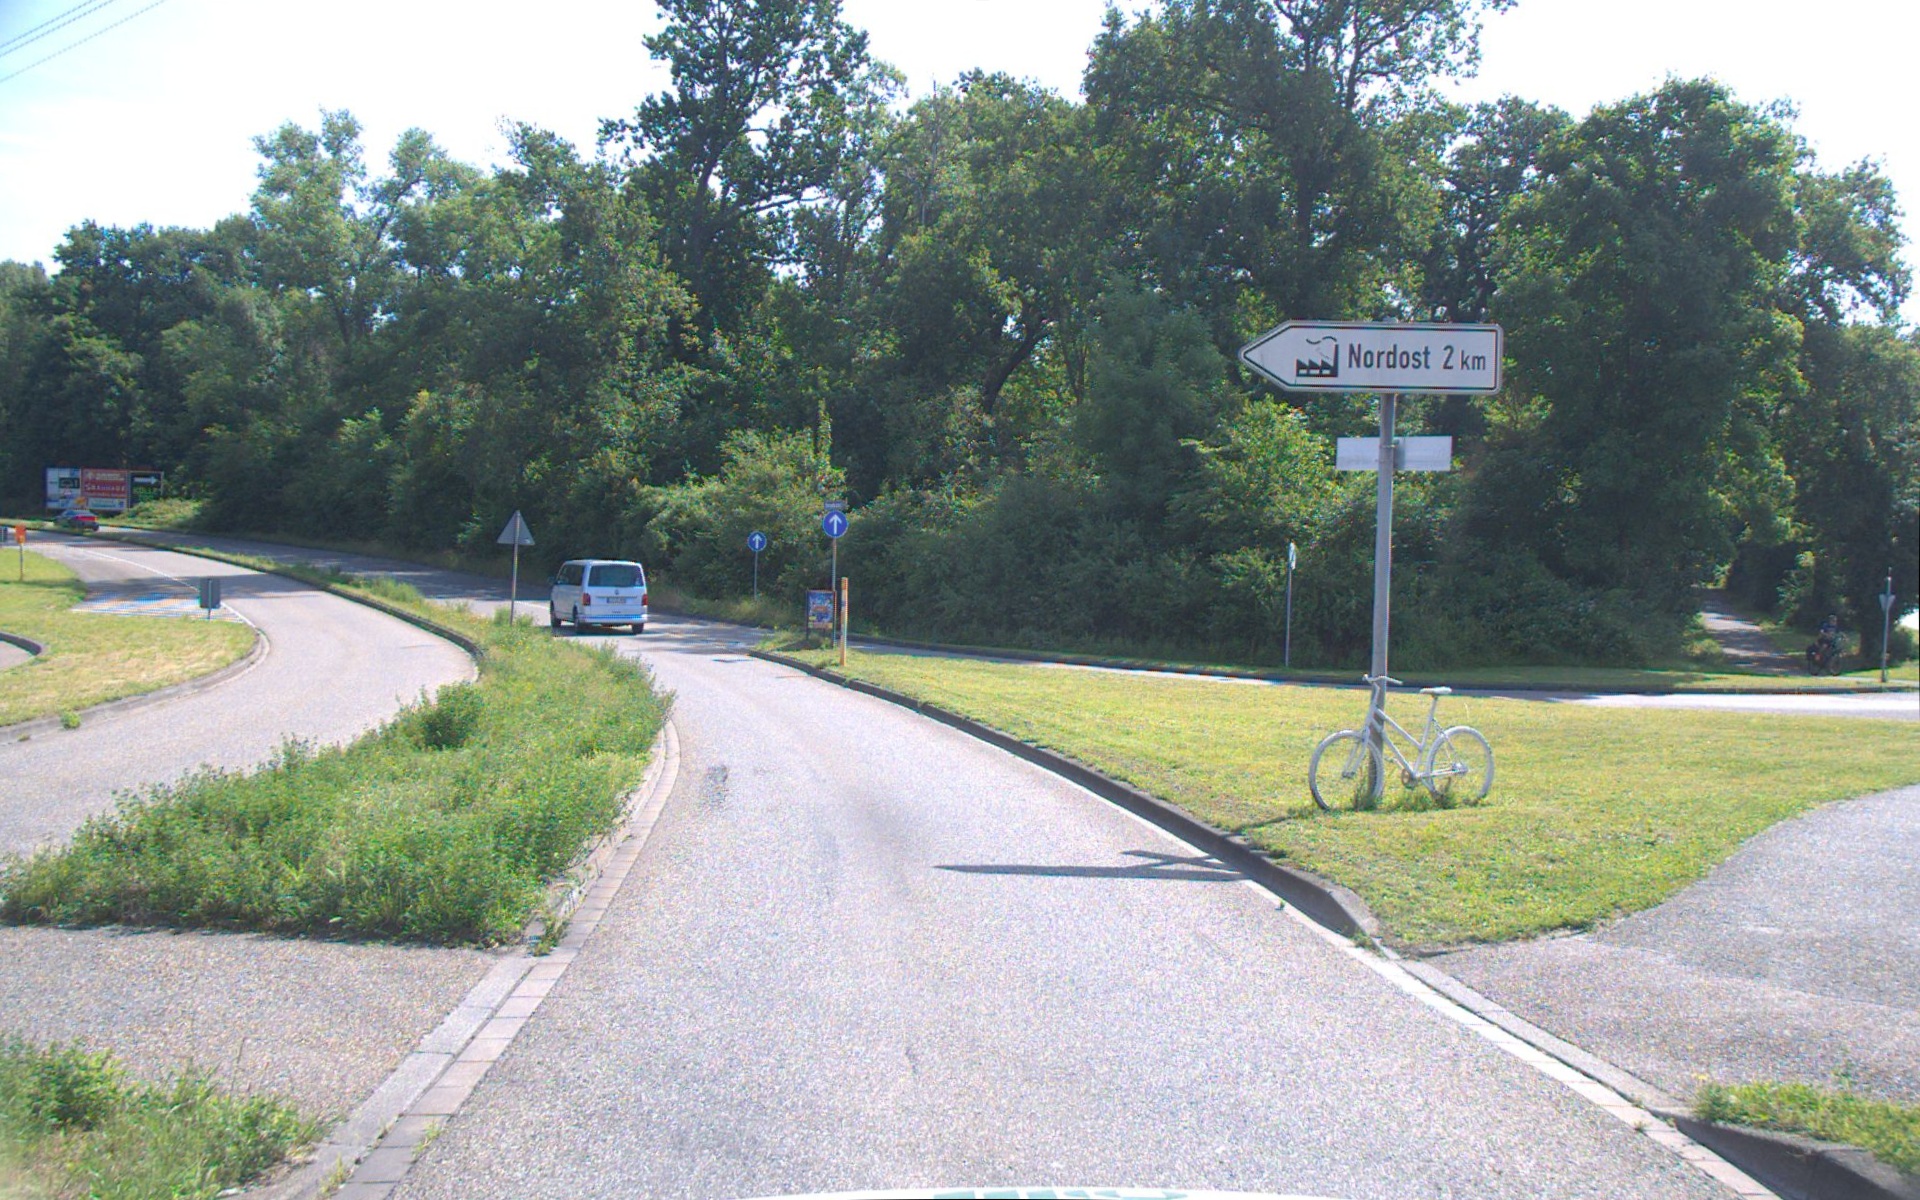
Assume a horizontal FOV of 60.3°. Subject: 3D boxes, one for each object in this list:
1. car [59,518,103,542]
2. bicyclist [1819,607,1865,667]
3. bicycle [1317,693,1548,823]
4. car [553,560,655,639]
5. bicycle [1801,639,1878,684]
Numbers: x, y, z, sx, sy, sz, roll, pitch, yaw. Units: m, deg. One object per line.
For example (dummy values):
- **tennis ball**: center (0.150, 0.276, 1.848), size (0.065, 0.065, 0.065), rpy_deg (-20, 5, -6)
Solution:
- **car**: center (-61.652, -4.918, 115.984), size (3.594, 1.593, 1.642), rpy_deg (4, 3, 43)
- **bicyclist**: center (23.890, 1.004, 44.799), size (0.662, 1.560, 0.845), rpy_deg (1, 2, -7)
- **bicycle**: center (3.465, 1.143, 12.098), size (1.755, 0.904, 0.270), rpy_deg (1, 0, -18)
- **car**: center (-9.934, -0.030, 45.947), size (2.011, 2.049, 3.972), rpy_deg (2, 0, -23)
- **bicycle**: center (23.863, 1.664, 44.921), size (0.710, 0.994, 2.184), rpy_deg (2, 3, -7)
